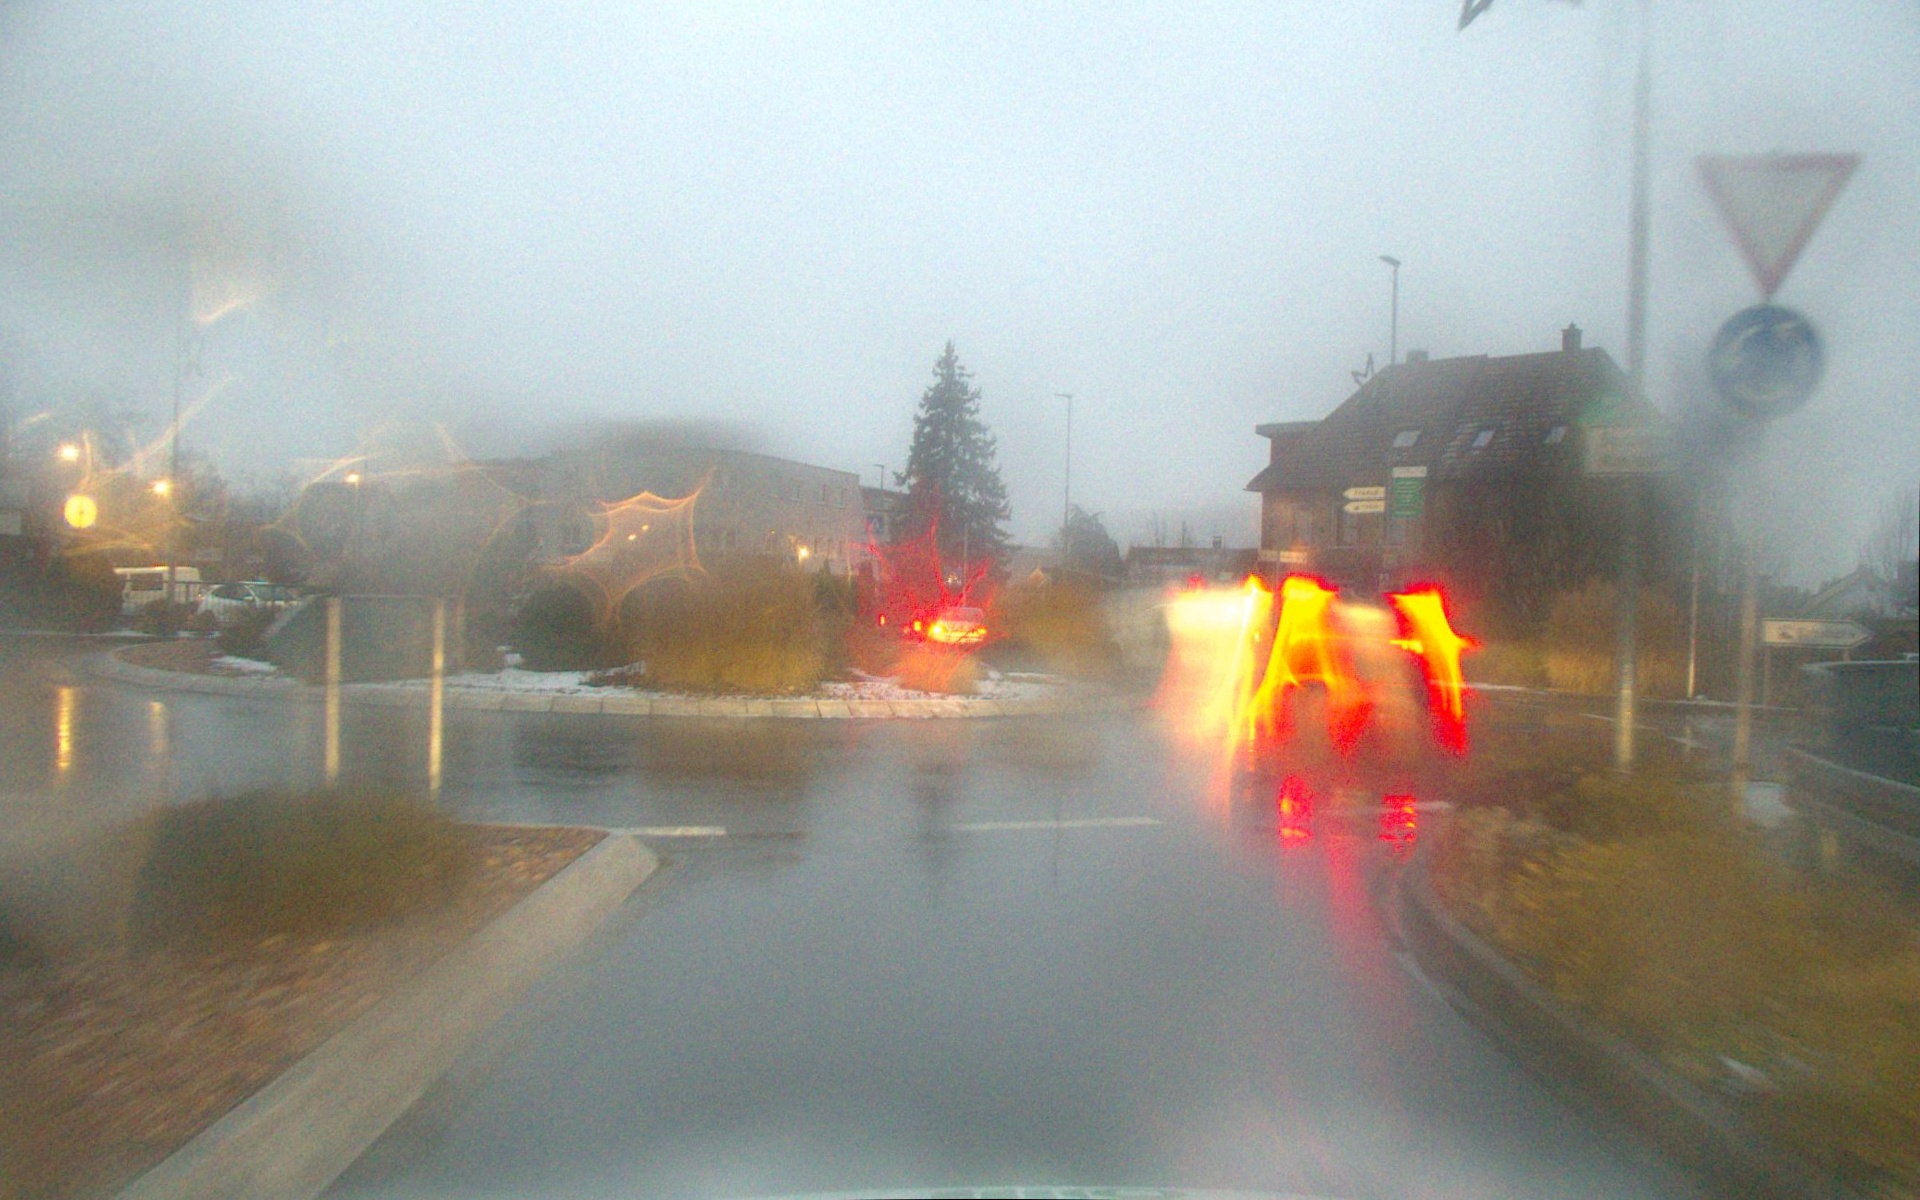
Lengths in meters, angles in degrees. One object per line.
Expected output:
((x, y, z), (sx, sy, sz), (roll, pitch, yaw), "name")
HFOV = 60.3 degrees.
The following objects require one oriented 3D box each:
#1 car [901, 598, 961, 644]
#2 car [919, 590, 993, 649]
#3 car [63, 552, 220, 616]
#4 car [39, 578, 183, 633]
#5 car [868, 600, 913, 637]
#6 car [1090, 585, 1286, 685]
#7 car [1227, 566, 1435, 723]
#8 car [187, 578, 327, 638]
((-1.076, 0.794, 59.688), (1.845, 1.575, 4.566), (1, -2, -5), "car")
((-0.170, 0.620, 49.816), (1.845, 1.643, 4.566), (1, -2, -5), "car")
((-32.380, -0.604, 65.637), (1.987, 2.171, 5.418), (3, -2, 25), "car")
((-24.768, 0.156, 48.230), (3.912, 1.334, 1.838), (3, -1, 29), "car")
((-3.060, 0.803, 72.208), (1.739, 1.571, 3.995), (1, -1, -6), "car")
((4.319, 0.627, 32.147), (2.128, 1.719, 4.553), (1, 1, -16), "car")
((4.626, 0.515, 21.198), (1.904, 1.748, 4.001), (2, 0, 3), "car")
((-22.064, 0.240, 51.865), (4.194, 1.588, 2.058), (3, -1, 35), "car")
